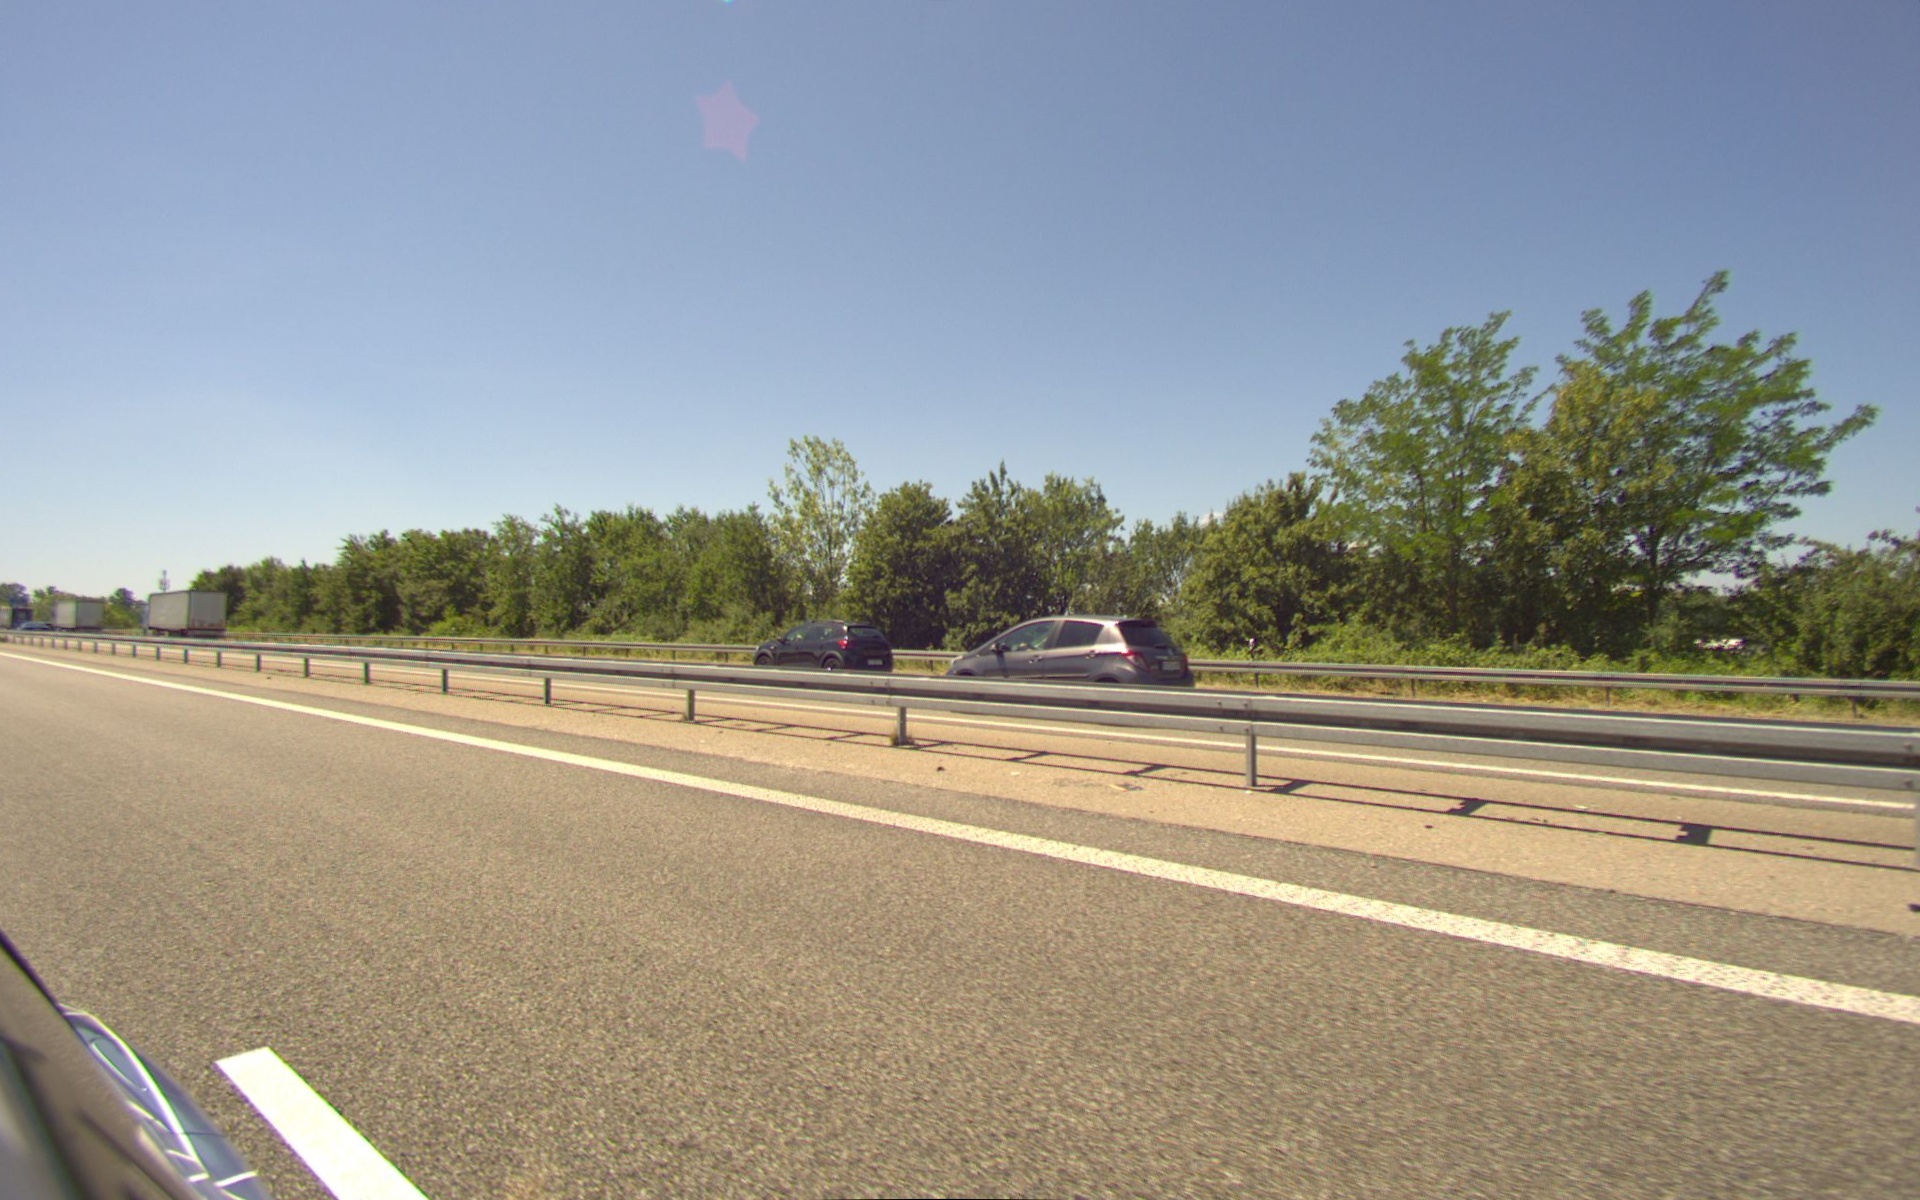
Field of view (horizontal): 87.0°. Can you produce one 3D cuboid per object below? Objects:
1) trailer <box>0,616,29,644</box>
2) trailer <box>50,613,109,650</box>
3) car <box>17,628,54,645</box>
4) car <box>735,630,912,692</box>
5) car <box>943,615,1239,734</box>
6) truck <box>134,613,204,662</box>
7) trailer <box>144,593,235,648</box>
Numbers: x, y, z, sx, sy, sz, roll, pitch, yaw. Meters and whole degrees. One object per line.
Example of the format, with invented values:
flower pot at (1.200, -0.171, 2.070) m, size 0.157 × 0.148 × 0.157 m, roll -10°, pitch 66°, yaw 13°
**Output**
trailer at (-150.100, 4.720, 159.881) m, size 13.535 × 4.218 × 2.889 m, roll -1°, pitch -4°, yaw 42°
trailer at (-104.291, 3.831, 119.746) m, size 13.533 × 4.219 × 3.314 m, roll -2°, pitch -3°, yaw 41°
car at (-80.939, 3.186, 88.593) m, size 4.740 × 1.406 × 1.830 m, roll -1°, pitch -4°, yaw 41°
car at (-3.473, 1.479, 25.278) m, size 4.529 × 1.412 × 1.843 m, roll -2°, pitch -3°, yaw 41°
car at (1.765, 0.979, 14.482) m, size 4.044 × 1.473 × 1.537 m, roll -2°, pitch -3°, yaw 41°
truck at (-68.412, 3.258, 87.502) m, size 8.723 × 4.017 × 3.218 m, roll -2°, pitch -2°, yaw 41°
trailer at (-63.859, 1.853, 83.699) m, size 13.533 × 4.219 × 3.263 m, roll -2°, pitch -3°, yaw 41°
